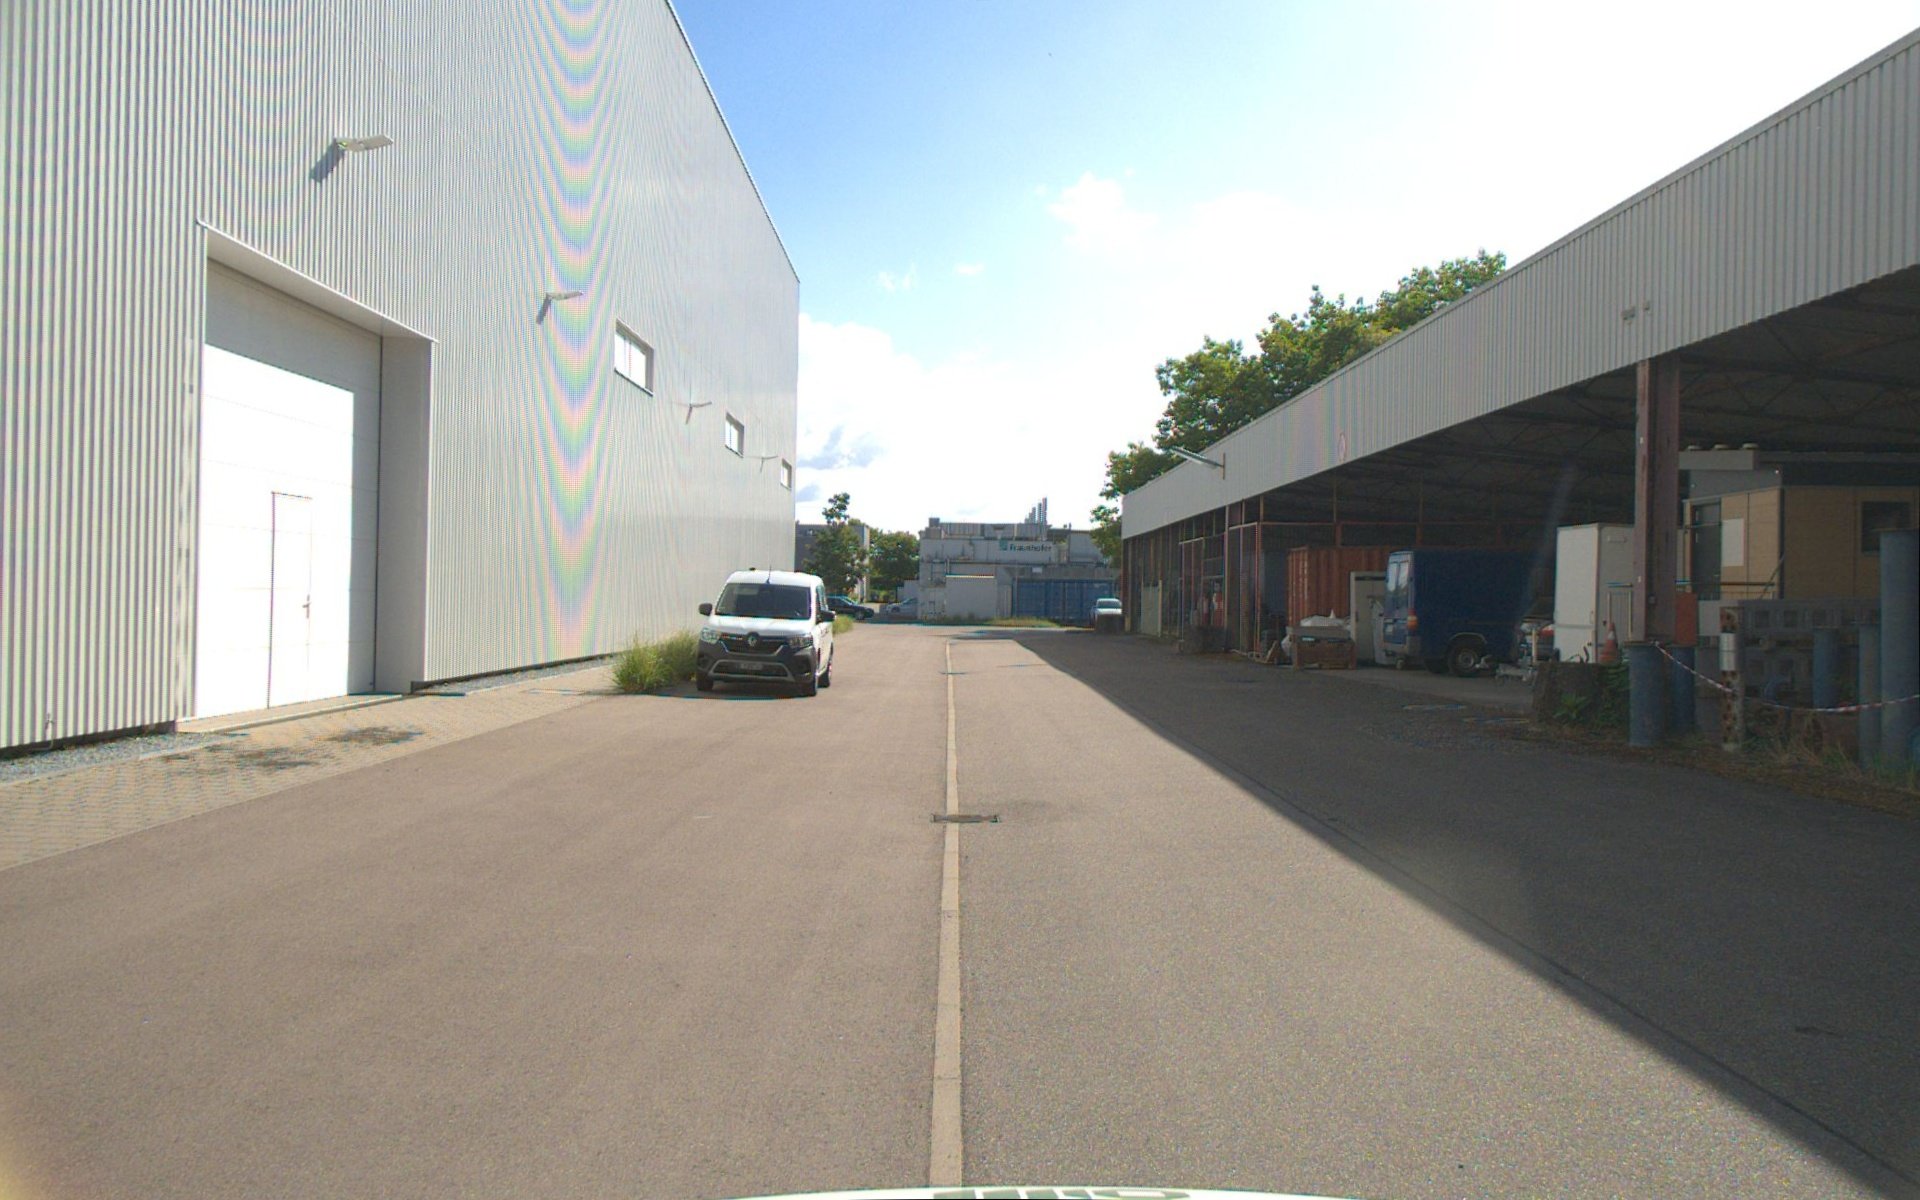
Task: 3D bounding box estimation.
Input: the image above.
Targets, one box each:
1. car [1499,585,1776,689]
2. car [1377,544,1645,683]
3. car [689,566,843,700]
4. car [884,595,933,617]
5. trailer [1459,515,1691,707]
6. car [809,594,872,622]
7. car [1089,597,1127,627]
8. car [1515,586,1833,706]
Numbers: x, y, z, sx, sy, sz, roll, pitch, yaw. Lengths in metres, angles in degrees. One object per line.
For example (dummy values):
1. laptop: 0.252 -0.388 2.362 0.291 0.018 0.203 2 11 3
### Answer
1. car: 11.357 0.638 27.885 3.955 1.551 1.684 2 -2 0
2. car: 10.251 0.282 30.971 4.342 2.350 1.915 2 -2 0
3. car: -2.893 0.445 25.497 1.781 1.818 4.405 2 0 0
4. car: -4.221 0.480 135.576 3.906 1.626 1.847 2 -2 -2
5. trailer: 8.188 0.156 22.163 2.472 2.441 1.727 1 -1 0
6. car: -7.754 0.526 107.656 3.906 1.626 1.741 2 -2 -2
7. car: 8.507 0.685 95.421 1.921 1.592 4.060 2 1 1
8. car: 10.477 0.683 24.452 3.955 1.551 1.684 2 -2 0
